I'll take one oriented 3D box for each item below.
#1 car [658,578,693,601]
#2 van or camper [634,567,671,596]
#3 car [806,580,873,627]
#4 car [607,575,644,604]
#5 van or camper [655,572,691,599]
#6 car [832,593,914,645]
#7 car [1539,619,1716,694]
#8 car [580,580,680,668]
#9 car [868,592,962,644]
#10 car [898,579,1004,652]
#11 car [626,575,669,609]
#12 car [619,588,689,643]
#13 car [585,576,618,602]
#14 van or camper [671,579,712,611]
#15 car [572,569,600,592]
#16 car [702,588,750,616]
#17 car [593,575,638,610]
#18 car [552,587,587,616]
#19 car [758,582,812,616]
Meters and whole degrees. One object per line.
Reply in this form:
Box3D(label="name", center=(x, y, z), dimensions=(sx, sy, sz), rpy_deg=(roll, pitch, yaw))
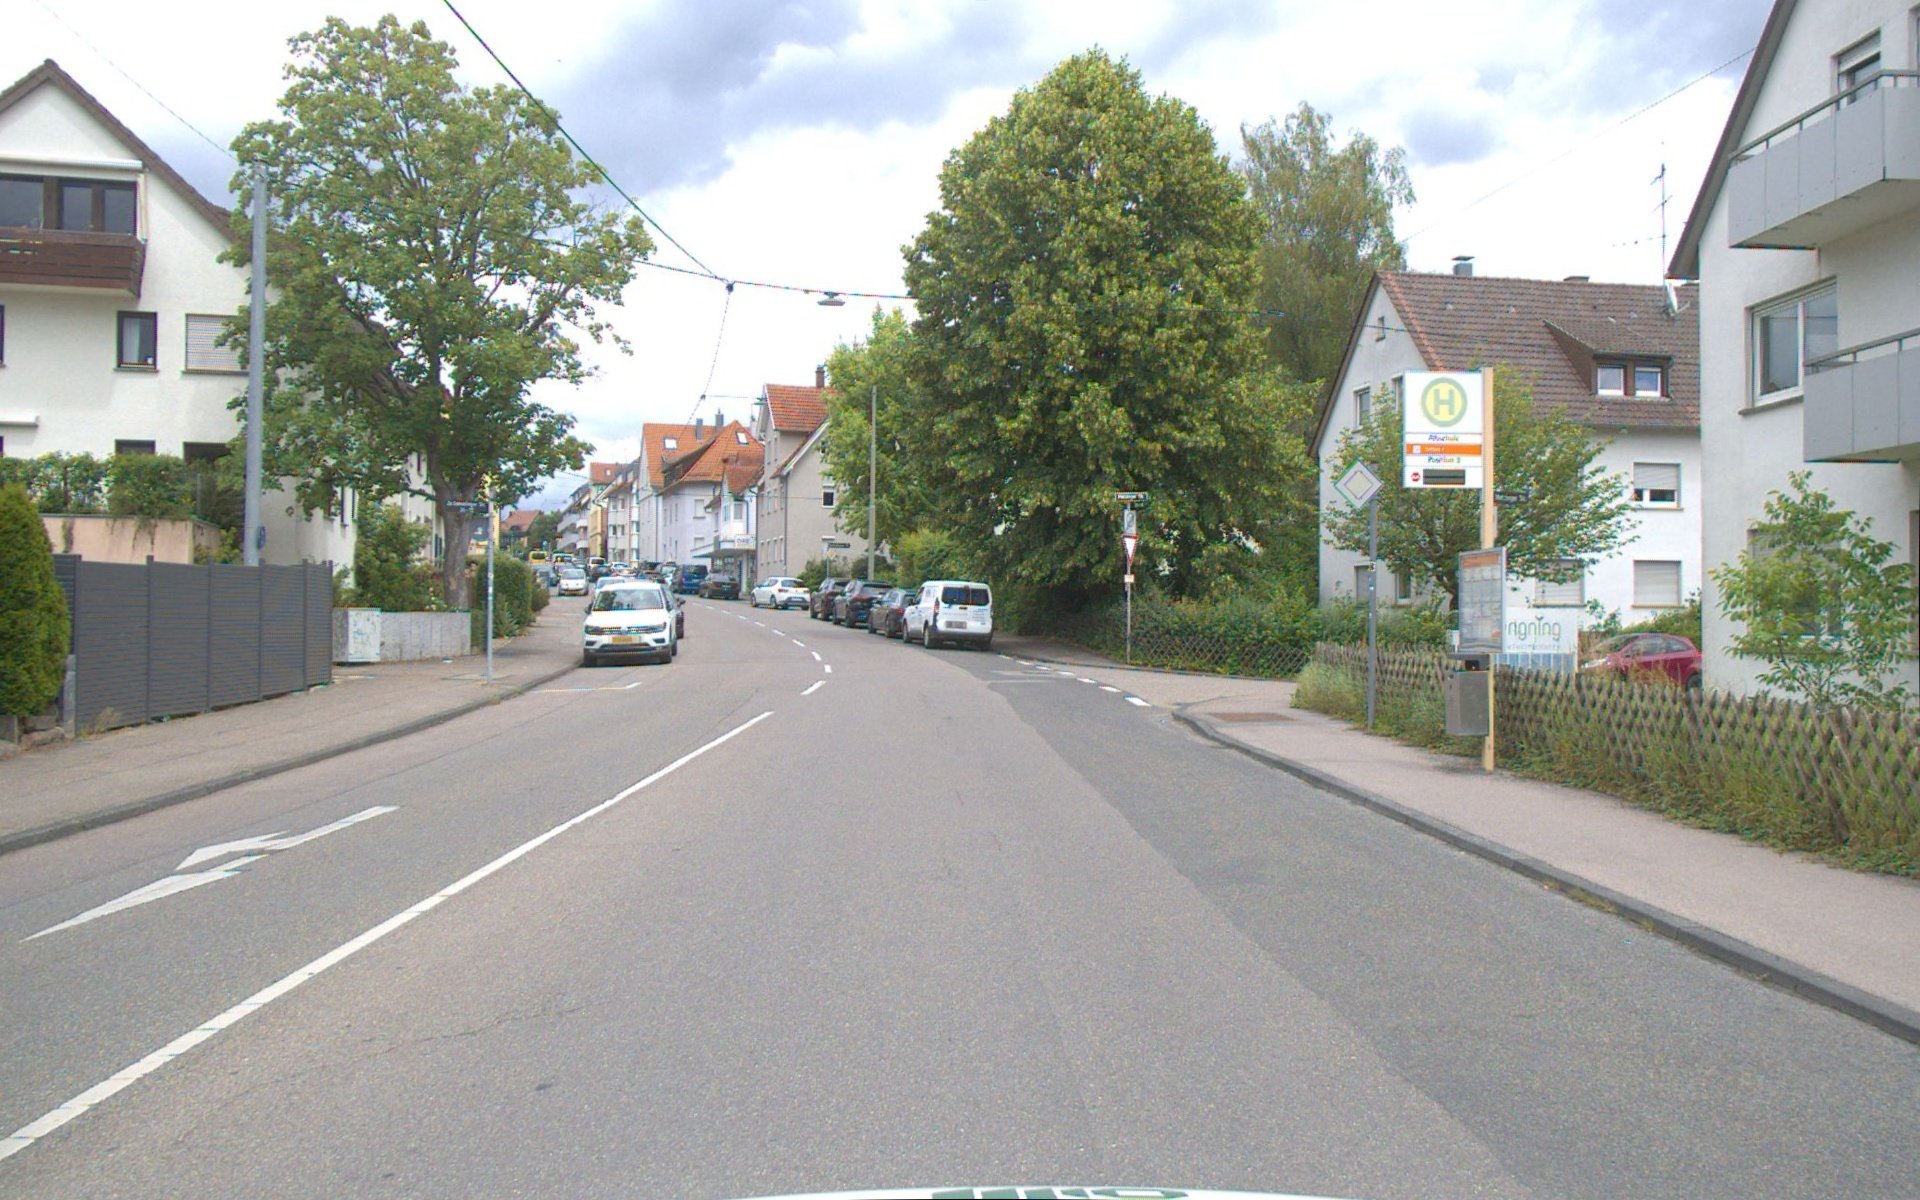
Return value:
Box3D(label="car", center=(-19.755, -0.731, 114.707), dimensions=(1.688, 1.461, 4.615), rpy_deg=(3, 0, -19))
Box3D(label="van or camper", center=(-23.788, -1.430, 127.942), dimensions=(1.963, 2.101, 5.914), rpy_deg=(3, 0, -18))
Box3D(label="car", center=(-4.602, 0.128, 62.786), dimensions=(1.780, 1.643, 4.523), rpy_deg=(2, 0, -14))
Box3D(label="car", center=(-24.584, -0.806, 121.521), dimensions=(2.120, 2.049, 3.978), rpy_deg=(2, 0, -19))
Box3D(label="van or camper", center=(-21.008, -1.071, 120.754), dimensions=(1.843, 1.860, 4.655), rpy_deg=(3, 0, -19))
Box3D(label="car", center=(-3.058, 0.623, 57.125), dimensions=(1.960, 1.643, 4.523), rpy_deg=(2, 0, -14))
Box3D(label="car", center=(15.597, 1.349, 38.683), dimensions=(3.638, 1.591, 1.679), rpy_deg=(2, -4, -17))
Box3D(label="car", center=(-7.097, 0.472, 35.925), dimensions=(1.815, 1.744, 4.567), rpy_deg=(-1, 0, -8))
Box3D(label="car", center=(-1.430, 0.532, 50.656), dimensions=(1.960, 1.504, 4.603), rpy_deg=(1, 0, -14))
Box3D(label="car", center=(-0.306, 0.387, 45.460), dimensions=(1.807, 1.805, 4.300), rpy_deg=(3, 0, -15))
Box3D(label="car", center=(-20.218, -0.540, 107.027), dimensions=(2.120, 2.049, 3.978), rpy_deg=(2, 0, -19))
Box3D(label="car", center=(-8.914, 0.414, 47.956), dimensions=(1.733, 1.463, 4.063), rpy_deg=(-1, 1, -14))
Box3D(label="car", center=(-29.731, -0.904, 137.144), dimensions=(2.120, 2.049, 3.978), rpy_deg=(2, 0, -19))
Box3D(label="van or camper", center=(-17.785, -0.365, 109.351), dimensions=(1.897, 1.959, 4.805), rpy_deg=(2, 1, -19))
Box3D(label="car", center=(-35.340, -1.837, 156.116), dimensions=(2.120, 2.049, 3.978), rpy_deg=(2, 0, -19))
Box3D(label="car", center=(-13.963, 0.094, 98.625), dimensions=(1.963, 1.544, 4.866), rpy_deg=(2, 0, -18))
Box3D(label="car", center=(-15.751, -0.362, 75.430), dimensions=(1.698, 1.483, 3.882), rpy_deg=(-3, 1, -16))
Box3D(label="car", center=(-23.482, 0.077, 99.538), dimensions=(1.801, 1.605, 4.020), rpy_deg=(-2, 1, -11))
Box3D(label="car", center=(-8.057, -0.062, 75.799), dimensions=(1.908, 1.464, 3.985), rpy_deg=(2, 1, -14))
